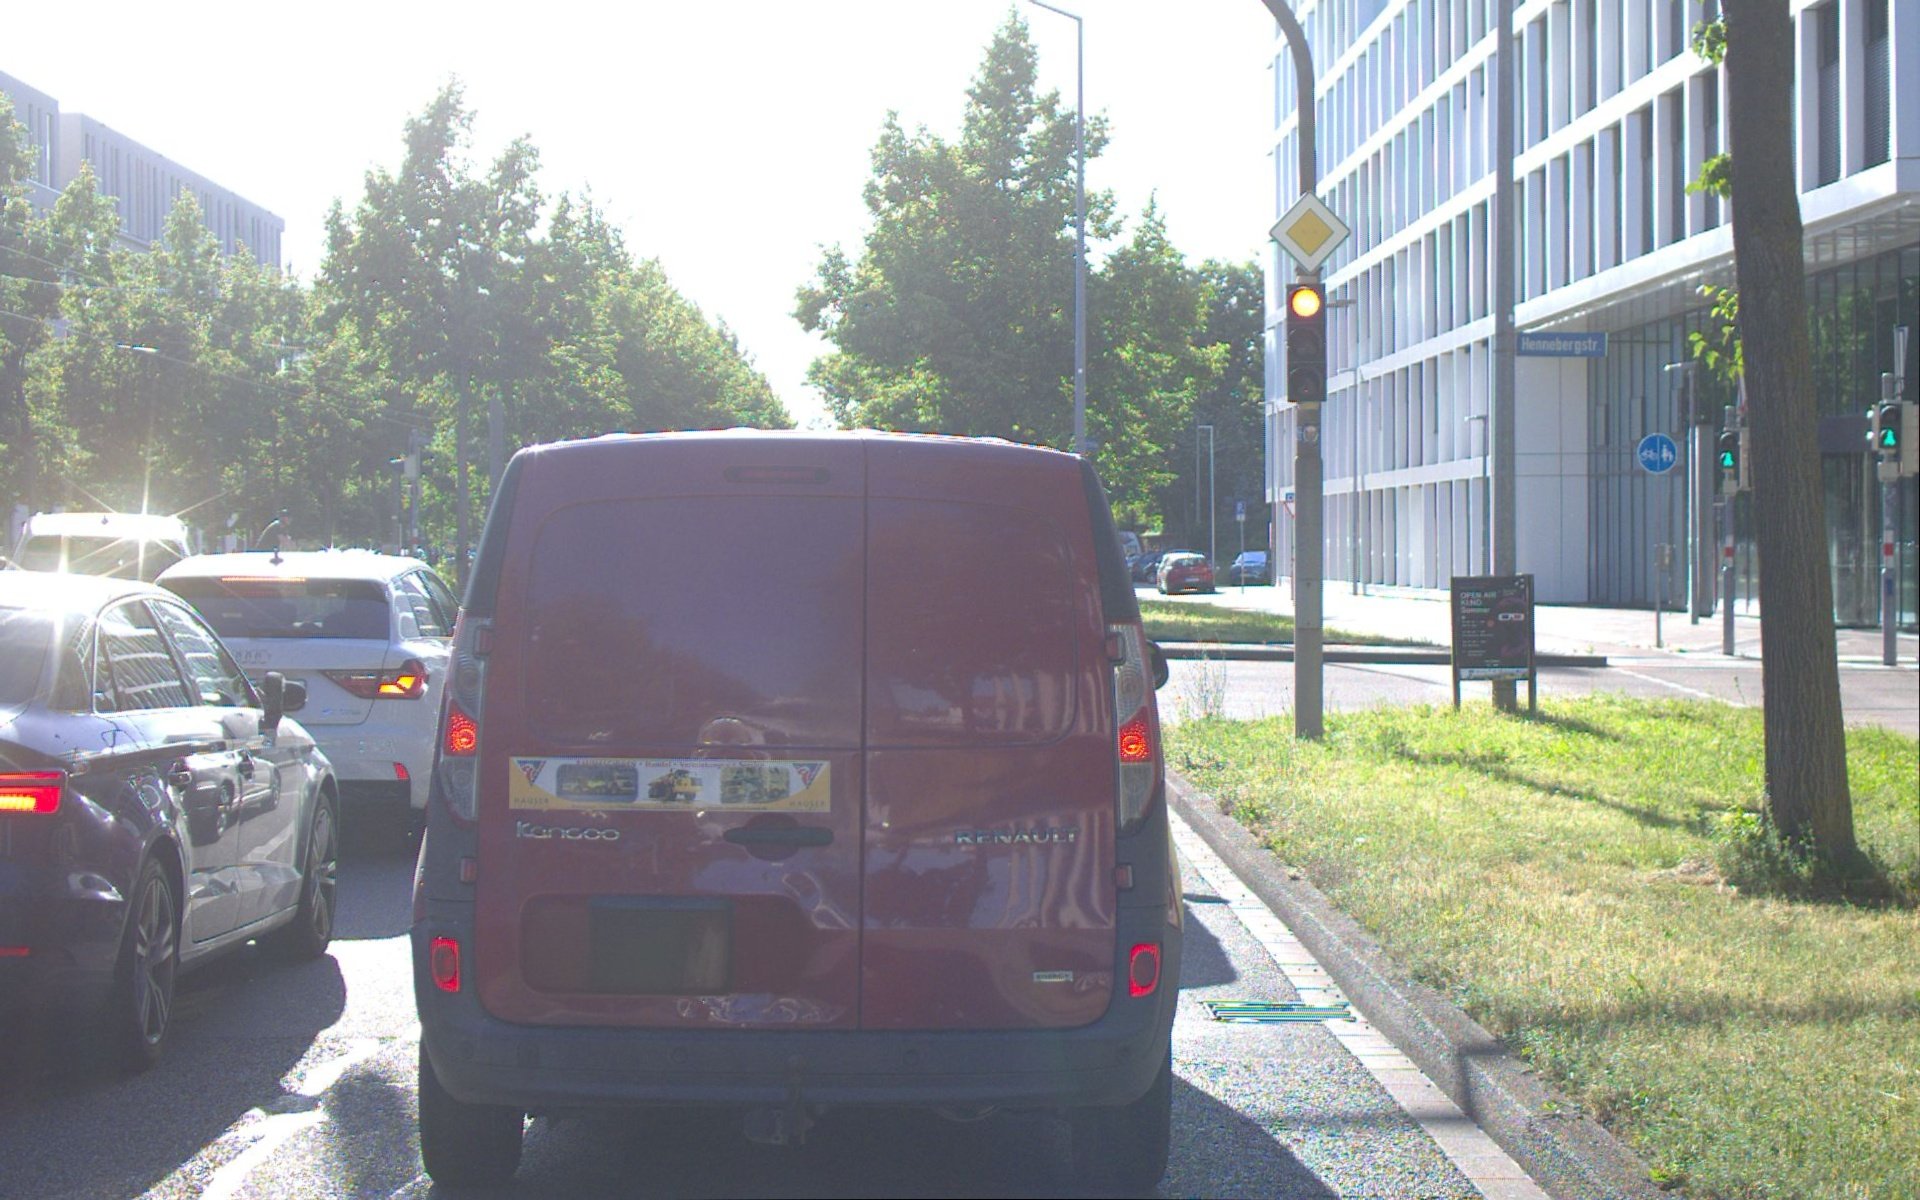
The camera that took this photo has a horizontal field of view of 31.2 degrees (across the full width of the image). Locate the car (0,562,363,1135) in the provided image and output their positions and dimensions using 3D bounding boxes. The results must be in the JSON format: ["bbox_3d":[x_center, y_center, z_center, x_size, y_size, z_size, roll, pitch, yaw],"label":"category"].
[{"bbox_3d":[-3.166,0.609,10.913,1.842,1.421,4.339,0,1,-1],"label":"car"}]

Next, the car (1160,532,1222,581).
[{"bbox_3d":[8.580,-1.633,127.968,1.993,1.776,4.000,0,1,-1],"label":"car"}]

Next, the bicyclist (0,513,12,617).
[{"bbox_3d":[-18.395,-0.665,64.474,0.998,1.940,0.818,0,1,-1],"label":"bicyclist"}]

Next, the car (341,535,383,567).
[{"bbox_3d":[-37.754,-3.116,217.248,1.993,2.007,4.000,0,1,-1],"label":"car"}]

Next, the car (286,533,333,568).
[{"bbox_3d":[-37.673,-2.901,199.230,1.993,2.007,4.000,0,1,-1],"label":"car"}]

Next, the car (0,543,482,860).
[{"bbox_3d":[-3.593,0.429,17.551,1.803,1.421,3.901,0,1,-1],"label":"car"}]

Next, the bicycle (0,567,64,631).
[{"bbox_3d":[-18.379,-0.021,64.469,2.942,1.186,0.818,0,1,-1],"label":"bicycle"}]

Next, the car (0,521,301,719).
[{"bbox_3d":[-6.702,0.102,28.506,1.799,1.442,4.569,1,2,-3],"label":"car"}]

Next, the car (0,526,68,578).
[{"bbox_3d":[-36.896,-1.914,136.503,1.993,2.007,4.000,0,1,-1],"label":"car"}]

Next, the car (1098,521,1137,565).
[{"bbox_3d":[9.076,-3.279,198.330,1.993,2.488,4.987,0,1,-1],"label":"car"}]

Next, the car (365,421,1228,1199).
[{"bbox_3d":[-0.375,0.468,9.350,1.842,1.774,4.000,0,1,-1],"label":"car"}]

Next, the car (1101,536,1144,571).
[{"bbox_3d":[8.490,-2.445,179.820,1.993,1.776,4.000,0,1,-1],"label":"car"}]

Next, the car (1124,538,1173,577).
[{"bbox_3d":[8.787,-2.010,160.623,1.993,1.776,4.000,0,1,-1],"label":"car"}]

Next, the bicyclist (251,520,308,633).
[{"bbox_3d":[-12.676,-0.448,64.075,0.939,2.085,0.818,0,1,-5],"label":"bicyclist"}]

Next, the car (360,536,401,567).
[{"bbox_3d":[-37.543,-3.174,222.872,1.993,2.007,4.000,0,1,-1],"label":"car"}]
